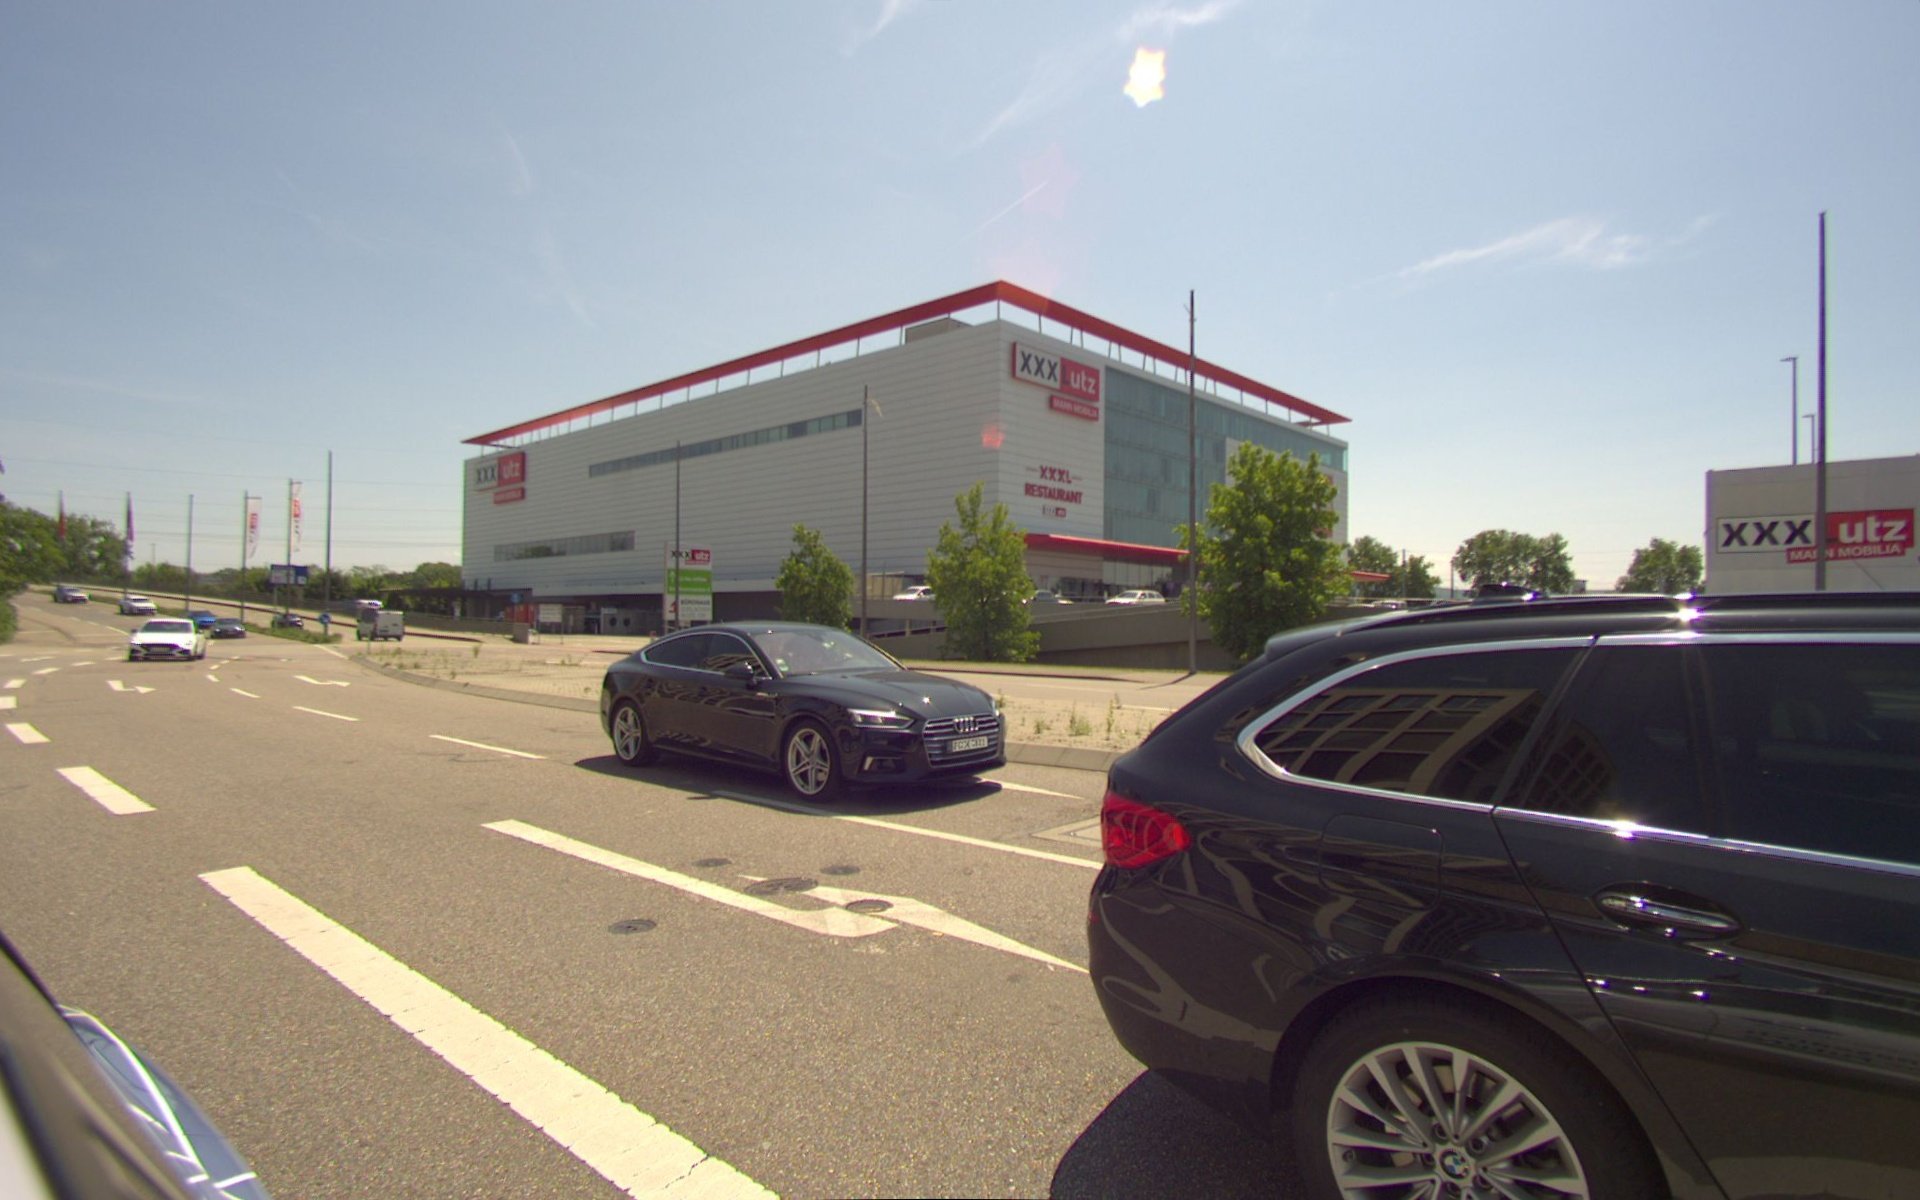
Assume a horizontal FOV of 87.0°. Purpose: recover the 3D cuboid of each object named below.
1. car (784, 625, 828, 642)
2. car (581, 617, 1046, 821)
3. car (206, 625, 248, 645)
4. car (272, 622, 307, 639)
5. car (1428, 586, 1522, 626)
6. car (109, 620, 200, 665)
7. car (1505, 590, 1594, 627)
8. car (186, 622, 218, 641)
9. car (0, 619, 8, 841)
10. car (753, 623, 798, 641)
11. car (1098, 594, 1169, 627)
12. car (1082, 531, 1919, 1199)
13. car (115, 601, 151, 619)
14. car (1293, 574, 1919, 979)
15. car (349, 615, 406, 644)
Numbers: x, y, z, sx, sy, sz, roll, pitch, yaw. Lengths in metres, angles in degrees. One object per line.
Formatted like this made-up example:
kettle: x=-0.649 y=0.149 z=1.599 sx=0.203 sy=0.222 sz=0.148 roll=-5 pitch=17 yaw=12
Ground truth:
car: x=-13.785 y=3.007 z=90.527 sx=1.959 sy=1.507 sz=3.436 roll=0 pitch=-2 yaw=42
car: x=-1.544 y=0.888 z=9.177 sx=4.533 sy=1.401 sz=1.729 roll=-2 pitch=-2 yaw=43
car: x=-50.741 y=2.416 z=70.057 sx=1.776 sy=1.388 sz=4.410 roll=1 pitch=-2 yaw=-43
car: x=-56.628 y=2.578 z=85.439 sx=1.833 sy=1.312 sz=3.898 roll=3 pitch=-3 yaw=-42
car: x=26.610 y=0.345 z=52.321 sx=3.998 sy=1.946 sz=1.973 roll=-1 pitch=-2 yaw=41
car: x=-27.862 y=1.437 z=34.960 sx=4.228 sy=1.461 sz=1.712 roll=-1 pitch=-3 yaw=41
car: x=32.558 y=0.489 z=55.957 sx=3.996 sy=1.923 sz=1.974 roll=-1 pitch=-2 yaw=39
car: x=-61.137 y=2.515 z=81.599 sx=1.775 sy=1.424 sz=4.412 roll=0 pitch=-1 yaw=-41
car: x=-8.485 y=0.880 z=7.256 sx=4.401 sy=1.436 sz=1.857 roll=-1 pitch=-1 yaw=39
car: x=-16.996 y=2.946 z=93.169 sx=1.911 sy=1.632 sz=3.698 roll=0 pitch=-2 yaw=41
car: x=9.917 y=0.630 z=57.590 sx=2.000 sy=1.781 sz=4.140 roll=-1 pitch=-2 yaw=44
car: x=2.625 y=0.624 z=1.616 sx=4.620 sy=1.477 sz=1.781 roll=-1 pitch=-1 yaw=40
car: x=-76.597 y=0.956 z=93.725 sx=4.050 sy=1.587 sz=1.659 roll=-1 pitch=-2 yaw=37
car: x=3.819 y=0.668 z=4.690 sx=3.991 sy=1.505 sz=1.782 roll=-1 pitch=-1 yaw=36
car: x=-38.766 y=1.956 z=67.356 sx=4.838 sy=1.864 sz=1.811 roll=-1 pitch=-2 yaw=41
